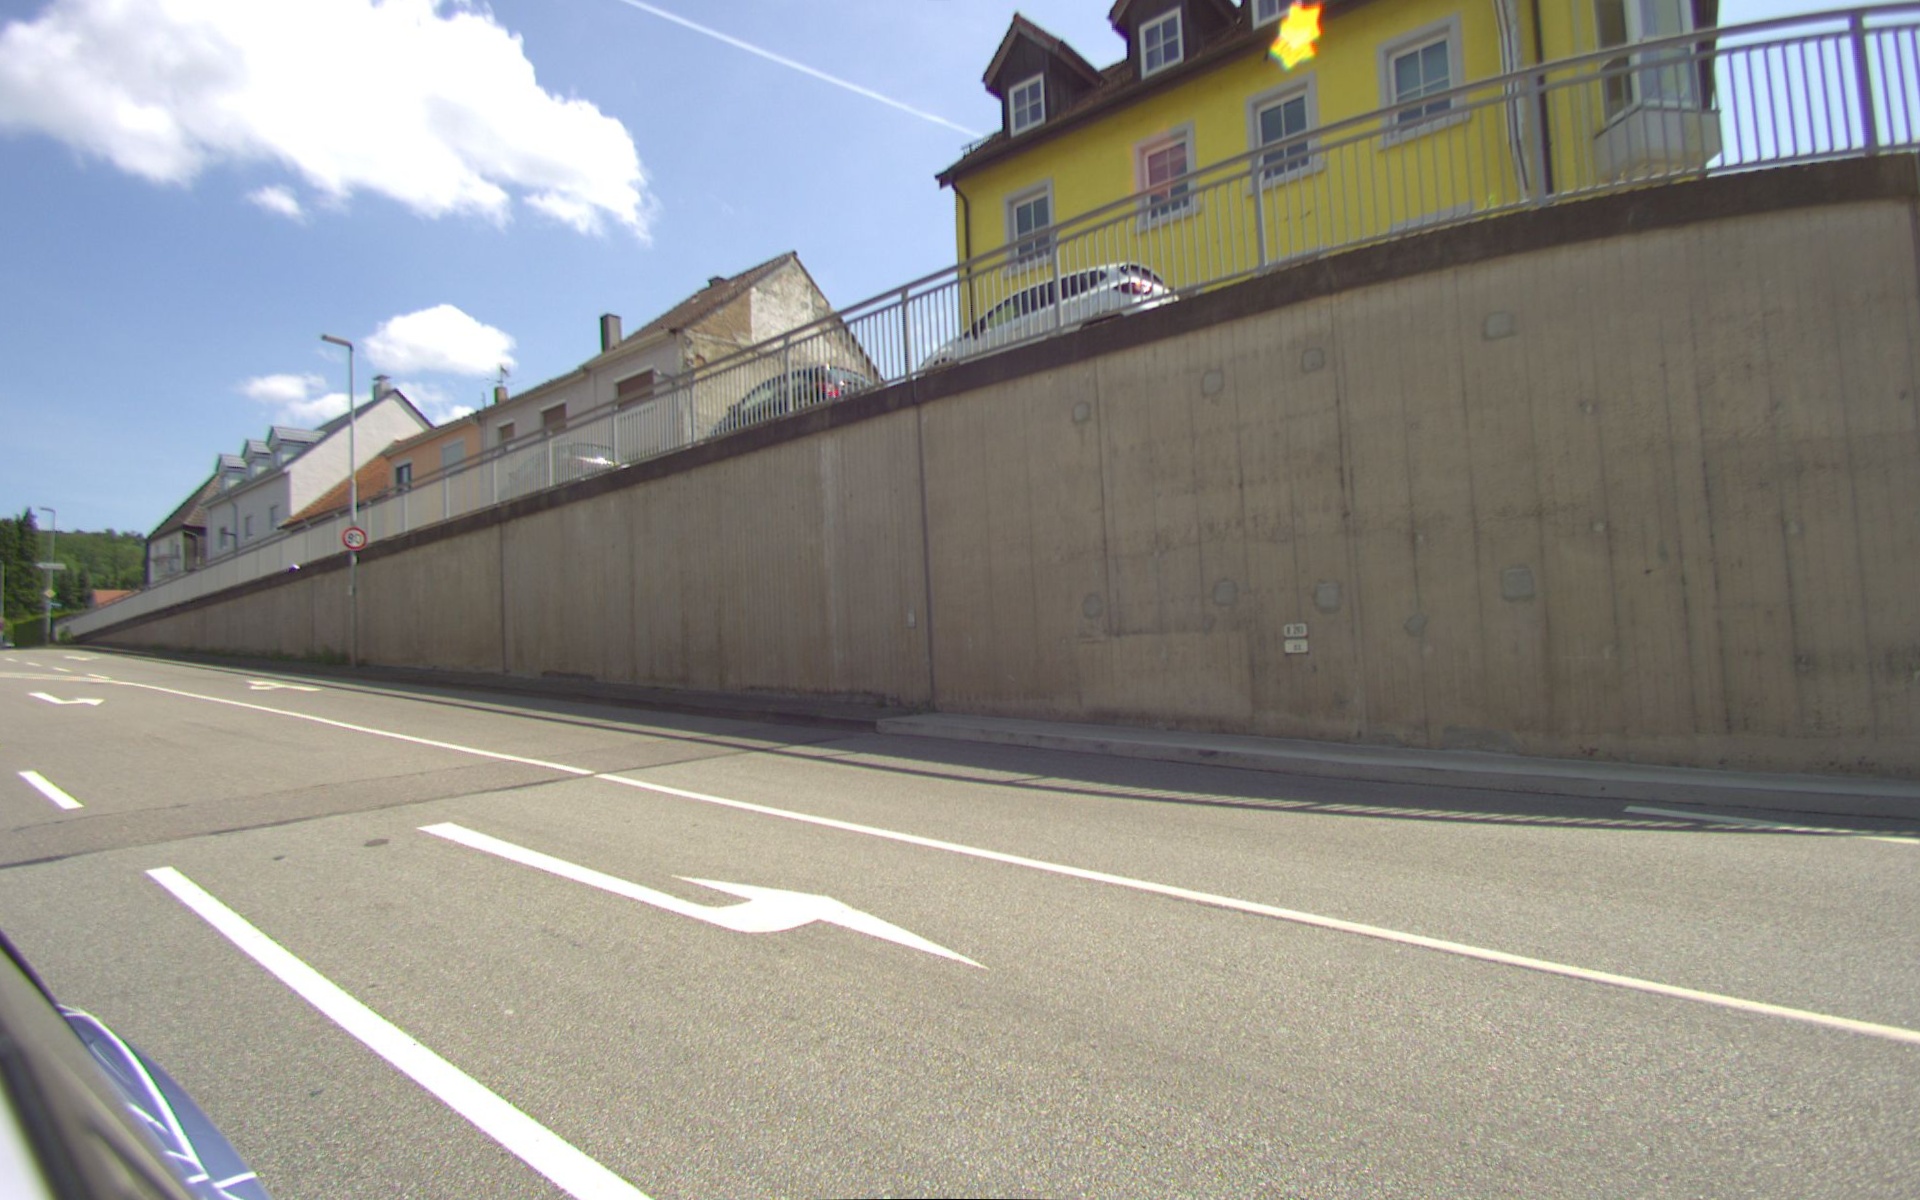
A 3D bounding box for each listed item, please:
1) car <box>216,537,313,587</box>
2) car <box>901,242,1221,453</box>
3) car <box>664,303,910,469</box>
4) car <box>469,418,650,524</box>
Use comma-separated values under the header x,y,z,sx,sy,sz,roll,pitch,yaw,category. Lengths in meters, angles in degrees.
x,y,z,sx,sy,sz,roll,pitch,yaw,category
-25.470,-1.331,37.015,4.388,1.416,1.768,-4,-3,39,car
1.306,-3.285,13.993,3.996,1.681,1.883,-4,-3,40,car
-3.046,-3.497,17.316,4.218,1.718,1.804,-4,-3,39,car
-8.832,-2.716,22.136,4.388,1.536,1.780,-4,-3,39,car
